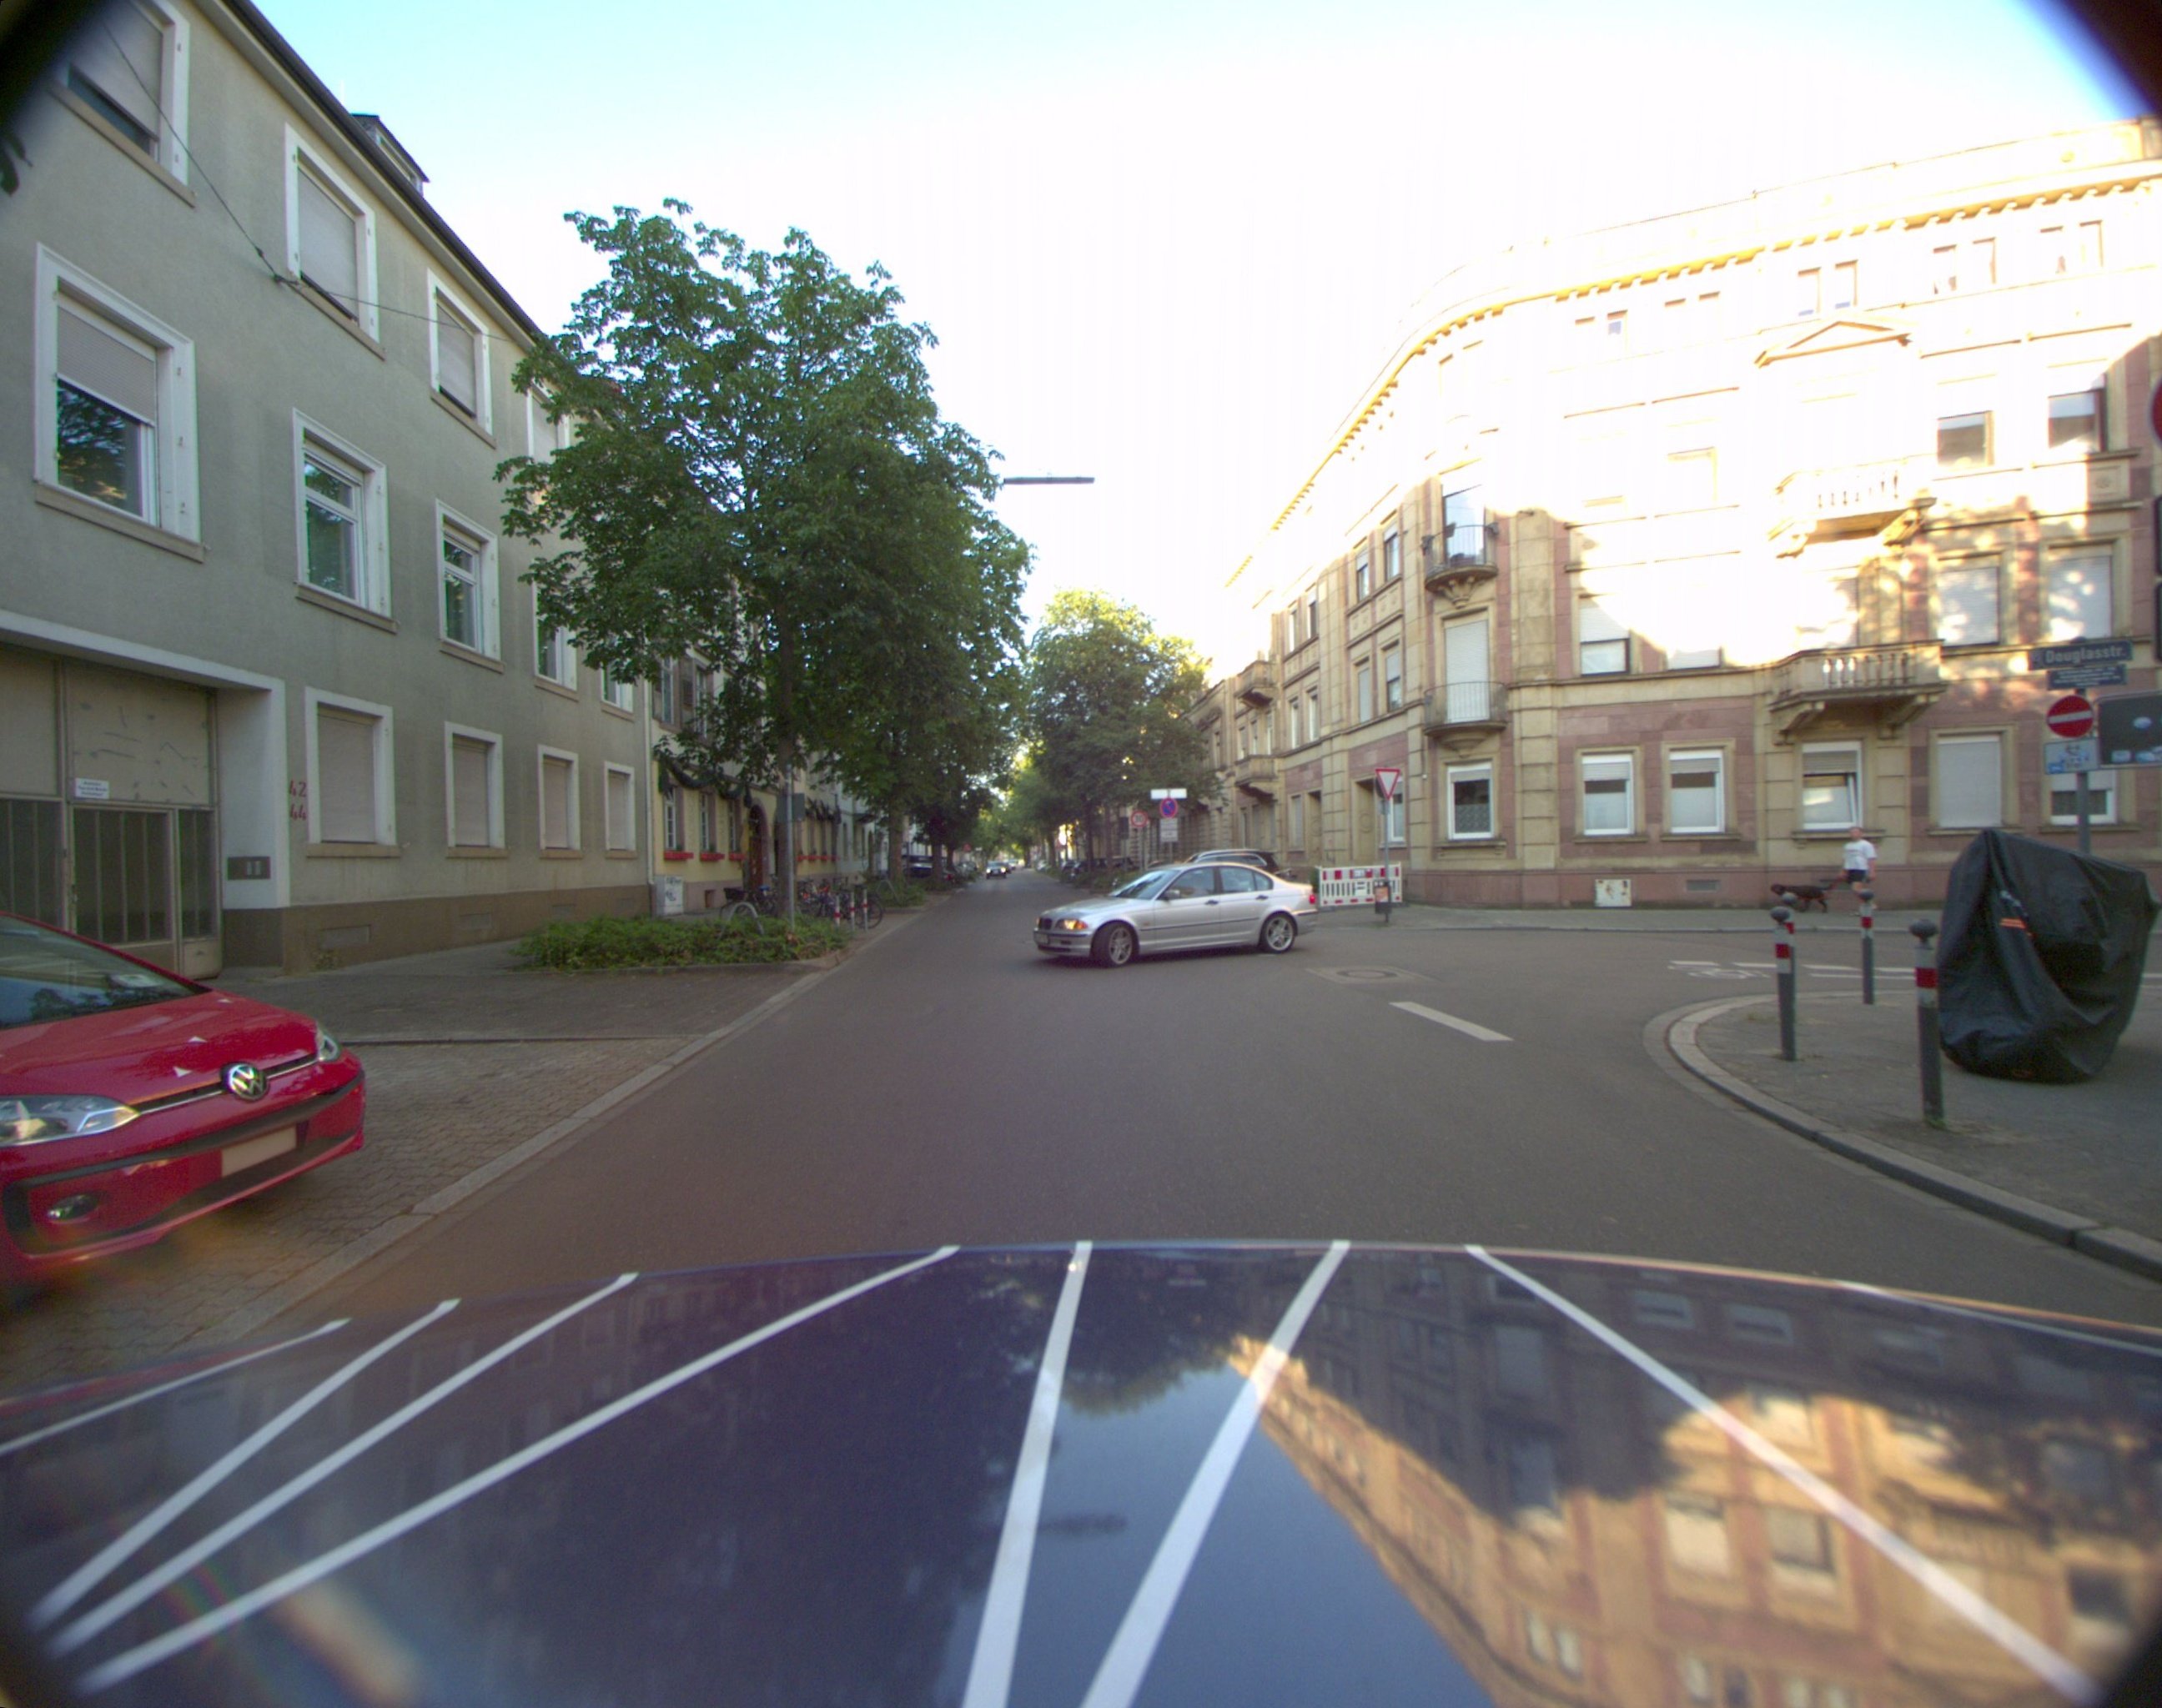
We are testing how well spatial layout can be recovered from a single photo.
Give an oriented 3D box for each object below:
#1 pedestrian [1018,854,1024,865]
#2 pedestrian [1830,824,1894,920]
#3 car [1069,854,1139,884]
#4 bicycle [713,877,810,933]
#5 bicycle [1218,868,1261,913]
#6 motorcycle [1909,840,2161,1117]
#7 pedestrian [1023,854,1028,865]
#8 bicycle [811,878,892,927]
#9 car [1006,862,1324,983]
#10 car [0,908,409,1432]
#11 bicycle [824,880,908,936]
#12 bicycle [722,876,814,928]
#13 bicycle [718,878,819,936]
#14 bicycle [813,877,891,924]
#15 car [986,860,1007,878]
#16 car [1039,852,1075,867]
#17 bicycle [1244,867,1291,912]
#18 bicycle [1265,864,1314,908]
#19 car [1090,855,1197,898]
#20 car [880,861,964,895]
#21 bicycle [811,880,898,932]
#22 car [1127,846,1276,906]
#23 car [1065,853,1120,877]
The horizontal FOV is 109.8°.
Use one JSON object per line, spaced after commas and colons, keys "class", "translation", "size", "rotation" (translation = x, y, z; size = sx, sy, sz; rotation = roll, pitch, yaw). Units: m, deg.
{"class": "pedestrian", "translation": [-9.749, 0.940, 123.280], "size": [0.811, 1.825, 0.840], "rotation": [-1, 0, 0]}
{"class": "pedestrian", "translation": [15.022, 0.339, 14.626], "size": [0.650, 1.797, 0.574], "rotation": [0, 1, 18]}
{"class": "car", "translation": [1.424, 0.944, 47.818], "size": [4.245, 1.749, 1.741], "rotation": [-1, 0, -4]}
{"class": "bicycle", "translation": [-7.493, 1.180, 17.893], "size": [2.030, 1.220, 0.535], "rotation": [-1, 0, -16]}
{"class": "bicycle", "translation": [4.385, 0.974, 21.164], "size": [0.562, 1.144, 2.038], "rotation": [-1, 0, -6]}
{"class": "motorcycle", "translation": [6.491, 0.674, 5.072], "size": [2.286, 1.496, 0.816], "rotation": [-1, 1, -30]}
{"class": "pedestrian", "translation": [-9.123, 0.901, 124.622], "size": [0.811, 1.825, 0.840], "rotation": [-1, 0, 0]}
{"class": "bicycle", "translation": [-6.125, 1.283, 20.360], "size": [2.029, 1.220, 0.535], "rotation": [-1, 0, -11]}
{"class": "car", "translation": [1.280, 0.893, 11.361], "size": [4.441, 1.433, 1.709], "rotation": [-1, 0, -24]}
{"class": "car", "translation": [-5.169, 1.045, 2.848], "size": [3.621, 1.468, 1.663], "rotation": [-1, 0, -7]}
{"class": "bicycle", "translation": [-5.036, 1.254, 17.839], "size": [1.849, 1.220, 0.535], "rotation": [-1, 0, -16]}
{"class": "bicycle", "translation": [-7.813, 1.180, 19.039], "size": [2.029, 1.220, 0.535], "rotation": [-1, 0, -13]}
{"class": "bicycle", "translation": [-7.033, 1.170, 17.190], "size": [2.030, 1.220, 0.535], "rotation": [-1, 0, -16]}
{"class": "bicycle", "translation": [-6.366, 1.283, 21.231], "size": [2.029, 1.220, 0.535], "rotation": [-1, 0, -11]}
{"class": "car", "translation": [-7.801, 1.328, 70.391], "size": [1.807, 1.543, 3.998], "rotation": [-1, 0, -5]}
{"class": "car", "translation": [-2.909, 0.652, 91.978], "size": [4.245, 1.749, 1.741], "rotation": [-1, 0, -4]}
{"class": "bicycle", "translation": [5.178, 0.952, 21.206], "size": [0.562, 1.144, 2.038], "rotation": [-1, 0, -8]}
{"class": "bicycle", "translation": [5.797, 0.871, 21.255], "size": [0.562, 1.144, 2.038], "rotation": [-1, 0, -8]}
{"class": "car", "translation": [2.537, 0.919, 31.525], "size": [4.243, 1.668, 1.742], "rotation": [-1, 0, -1]}
{"class": "car", "translation": [-8.543, 1.267, 41.112], "size": [4.245, 1.729, 1.741], "rotation": [-1, 0, -6]}
{"class": "bicycle", "translation": [-5.659, 1.280, 19.079], "size": [2.029, 1.220, 0.535], "rotation": [-1, 0, -11]}
{"class": "car", "translation": [3.728, 0.667, 24.072], "size": [4.422, 1.771, 1.742], "rotation": [-1, 0, -1]}
{"class": "car", "translation": [0.884, 0.850, 60.289], "size": [4.245, 1.749, 1.741], "rotation": [-1, 0, -4]}
